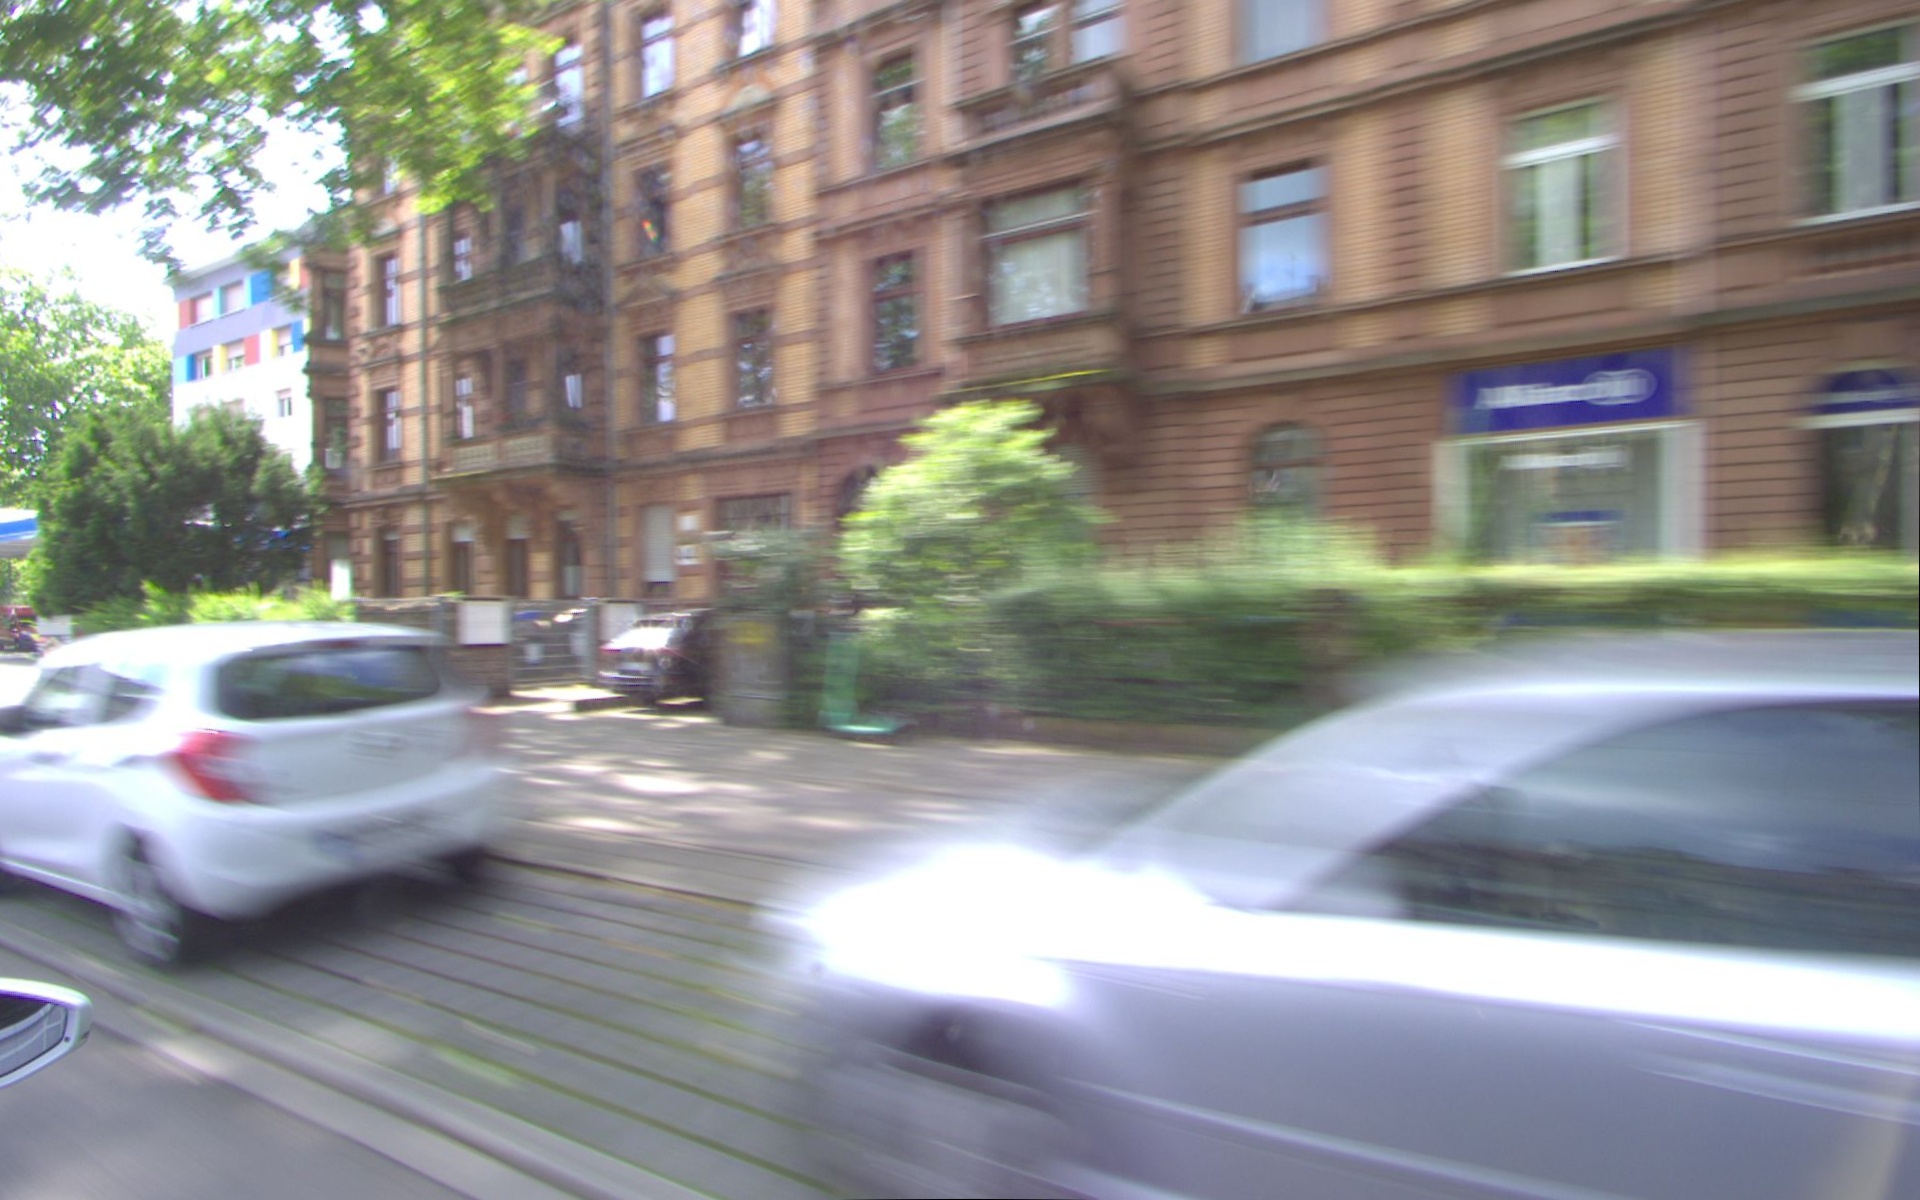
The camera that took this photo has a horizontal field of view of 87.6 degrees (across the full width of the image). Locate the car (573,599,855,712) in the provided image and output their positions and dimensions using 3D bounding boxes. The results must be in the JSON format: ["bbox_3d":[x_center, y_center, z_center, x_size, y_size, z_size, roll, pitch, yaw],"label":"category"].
[{"bbox_3d":[-3.723,0.766,15.897,1.913,1.489,4.226,-1,0,31],"label":"car"}]

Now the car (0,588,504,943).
[{"bbox_3d":[-4.564,0.700,5.880,3.801,1.505,1.551,0,1,31],"label":"car"}]

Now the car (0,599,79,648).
[{"bbox_3d":[-51.757,1.282,56.120,5.934,2.616,2.107,-1,-1,33],"label":"car"}]

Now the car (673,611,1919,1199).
[{"bbox_3d":[1.321,0.780,2.333,3.802,1.463,1.675,-1,1,31],"label":"car"}]
